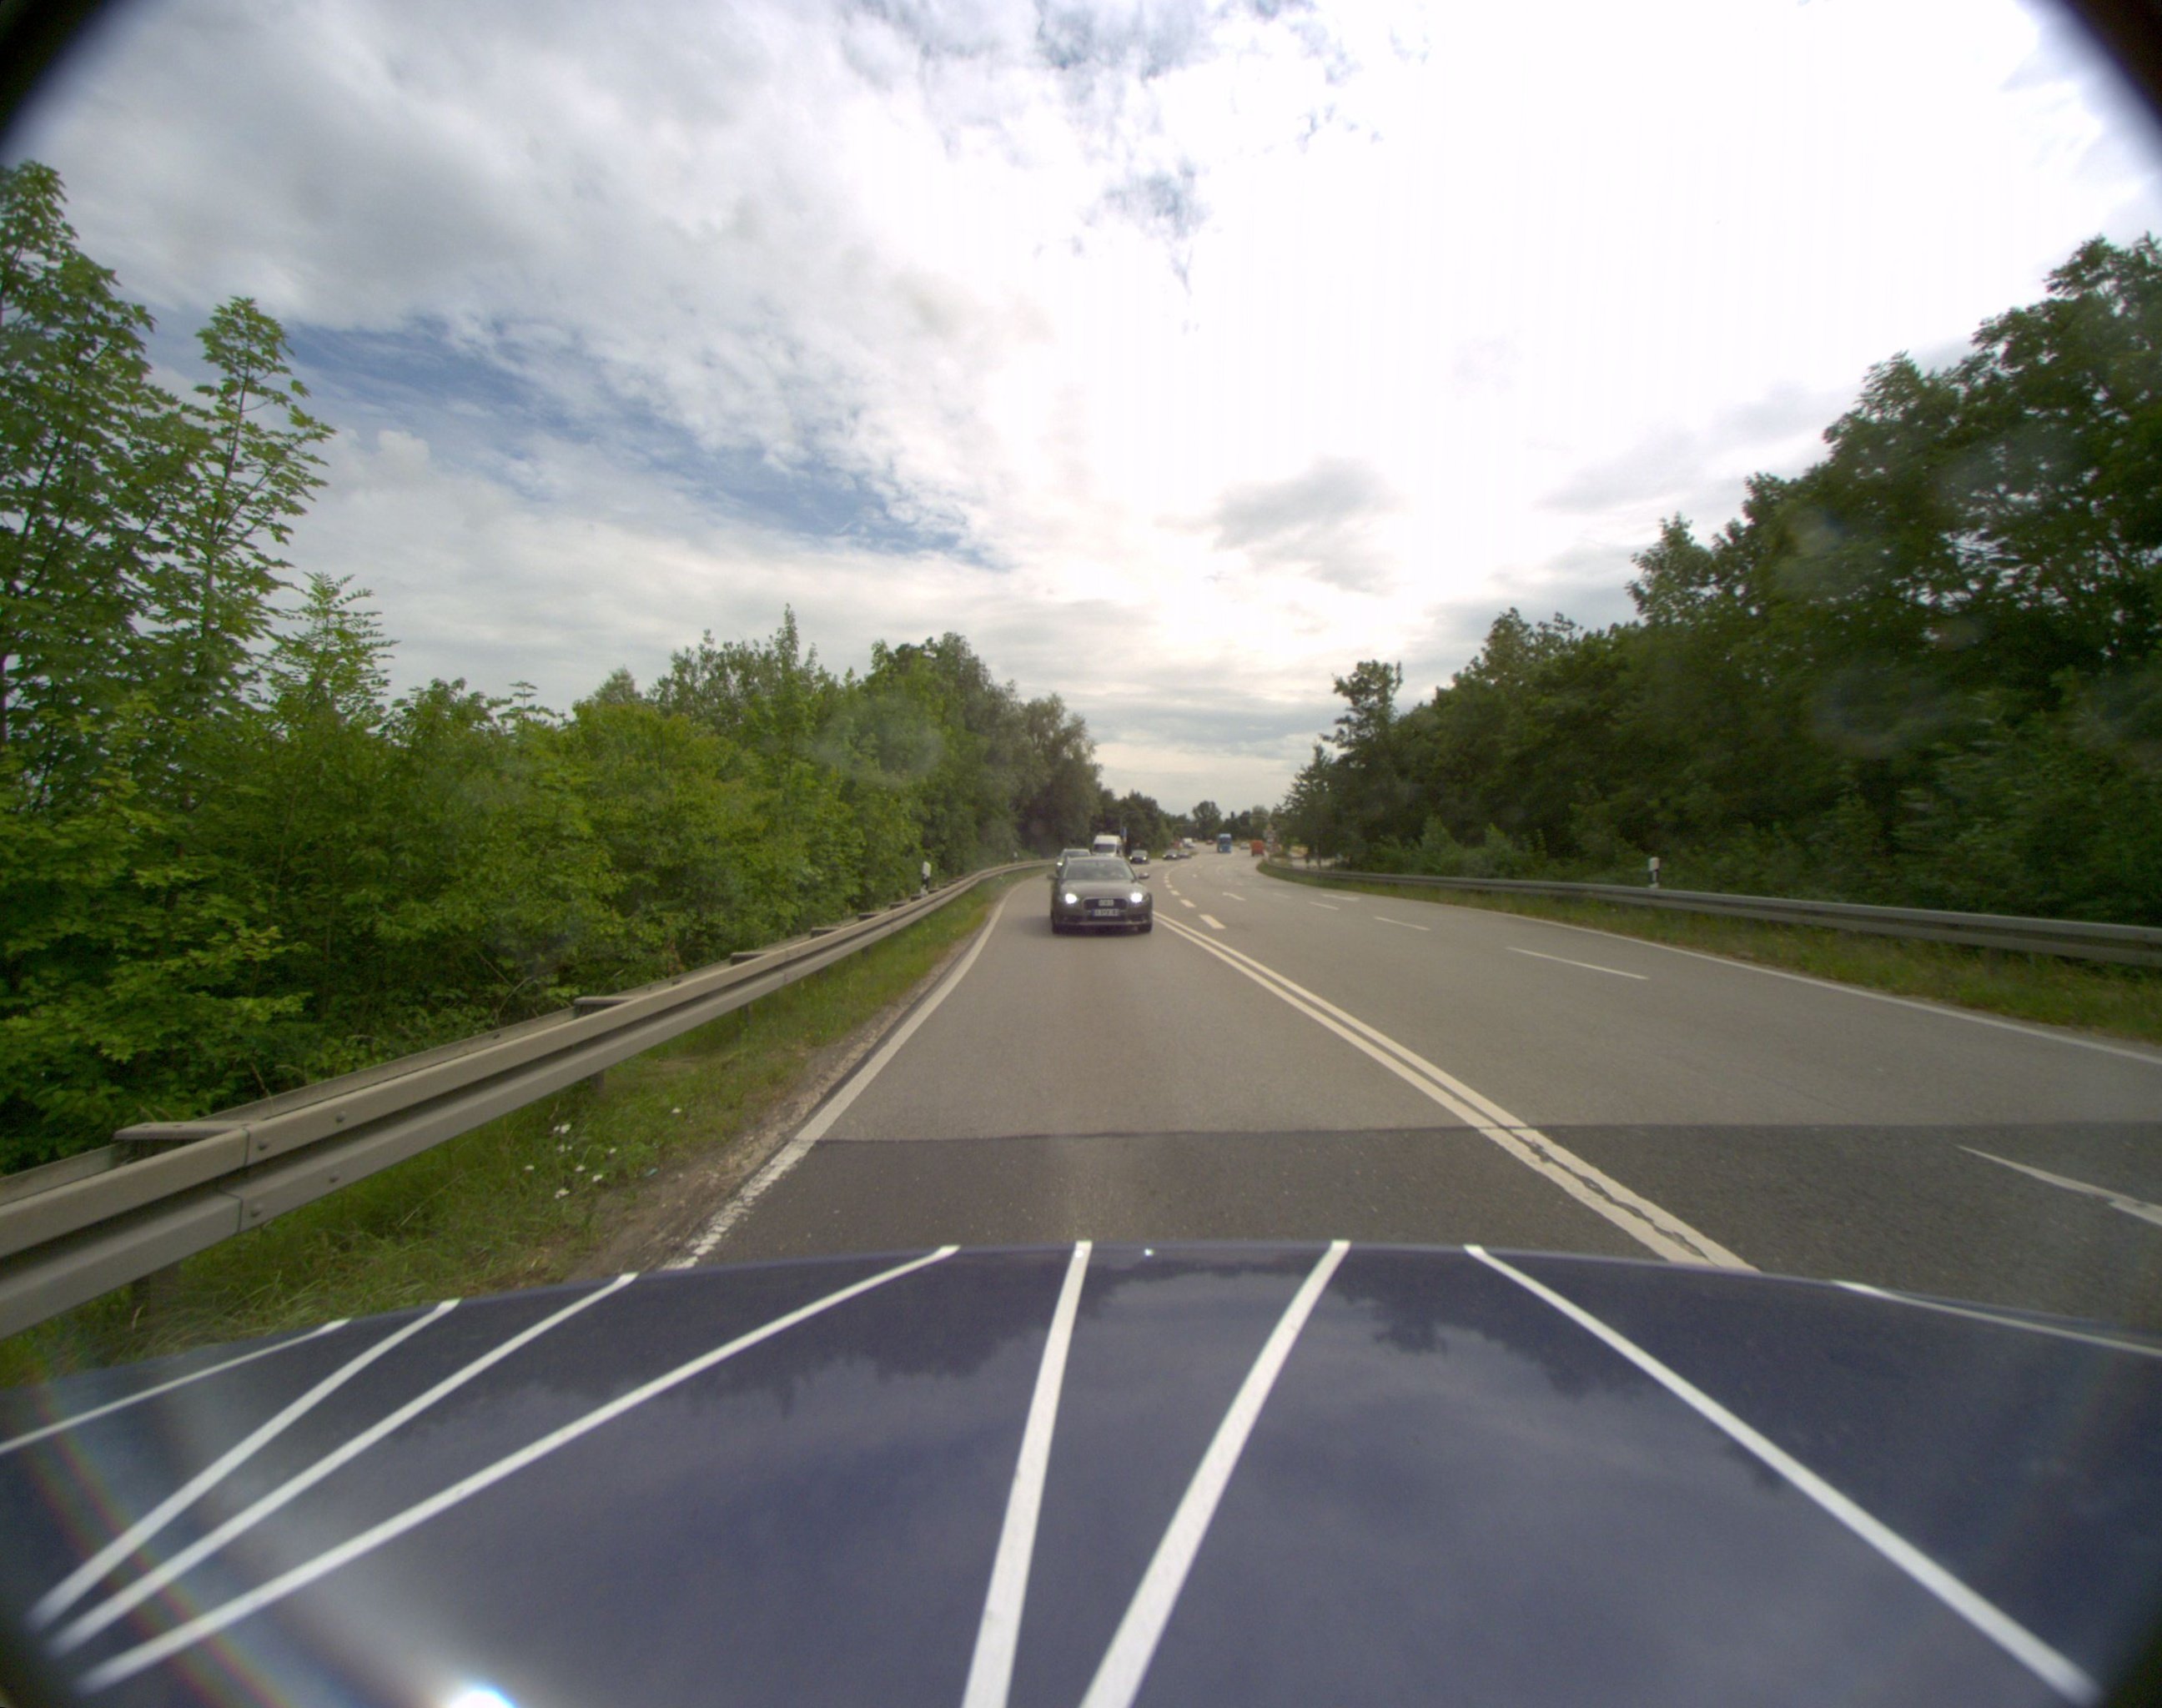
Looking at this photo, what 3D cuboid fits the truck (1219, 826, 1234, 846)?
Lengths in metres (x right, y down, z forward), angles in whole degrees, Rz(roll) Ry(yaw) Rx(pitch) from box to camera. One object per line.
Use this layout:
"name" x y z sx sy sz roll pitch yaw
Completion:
"truck" 31.991 -3.935 166.908 3.024 4.325 9.577 1 1 10

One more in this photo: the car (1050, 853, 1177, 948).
"car" 0.445 0.765 15.071 1.965 1.447 4.794 -2 1 -4

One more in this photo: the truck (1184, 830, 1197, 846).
"truck" 30.990 -4.513 215.217 3.026 4.325 9.571 1 1 4

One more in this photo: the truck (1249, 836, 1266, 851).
"truck" 30.384 -1.828 130.513 2.318 2.586 6.030 2 2 17

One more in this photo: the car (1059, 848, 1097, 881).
"car" -0.103 0.489 38.945 1.826 1.489 4.224 2 1 1

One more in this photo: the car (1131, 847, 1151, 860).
"car" 6.459 -0.056 81.063 1.743 1.317 4.002 3 1 9

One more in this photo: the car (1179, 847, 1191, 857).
"car" 16.453 -0.321 120.179 1.743 1.317 4.002 3 1 9

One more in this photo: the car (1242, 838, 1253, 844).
"car" 41.725 -3.243 190.541 1.920 1.562 3.999 1 1 2

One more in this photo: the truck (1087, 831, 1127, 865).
"truck" 2.174 -0.514 61.620 2.377 2.579 6.002 1 1 9

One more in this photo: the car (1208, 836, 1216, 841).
"car" 41.258 -4.855 239.206 1.744 1.478 4.198 1 2 -2

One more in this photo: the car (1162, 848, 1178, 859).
"car" 12.550 -0.068 106.925 1.742 1.317 4.003 3 1 11
